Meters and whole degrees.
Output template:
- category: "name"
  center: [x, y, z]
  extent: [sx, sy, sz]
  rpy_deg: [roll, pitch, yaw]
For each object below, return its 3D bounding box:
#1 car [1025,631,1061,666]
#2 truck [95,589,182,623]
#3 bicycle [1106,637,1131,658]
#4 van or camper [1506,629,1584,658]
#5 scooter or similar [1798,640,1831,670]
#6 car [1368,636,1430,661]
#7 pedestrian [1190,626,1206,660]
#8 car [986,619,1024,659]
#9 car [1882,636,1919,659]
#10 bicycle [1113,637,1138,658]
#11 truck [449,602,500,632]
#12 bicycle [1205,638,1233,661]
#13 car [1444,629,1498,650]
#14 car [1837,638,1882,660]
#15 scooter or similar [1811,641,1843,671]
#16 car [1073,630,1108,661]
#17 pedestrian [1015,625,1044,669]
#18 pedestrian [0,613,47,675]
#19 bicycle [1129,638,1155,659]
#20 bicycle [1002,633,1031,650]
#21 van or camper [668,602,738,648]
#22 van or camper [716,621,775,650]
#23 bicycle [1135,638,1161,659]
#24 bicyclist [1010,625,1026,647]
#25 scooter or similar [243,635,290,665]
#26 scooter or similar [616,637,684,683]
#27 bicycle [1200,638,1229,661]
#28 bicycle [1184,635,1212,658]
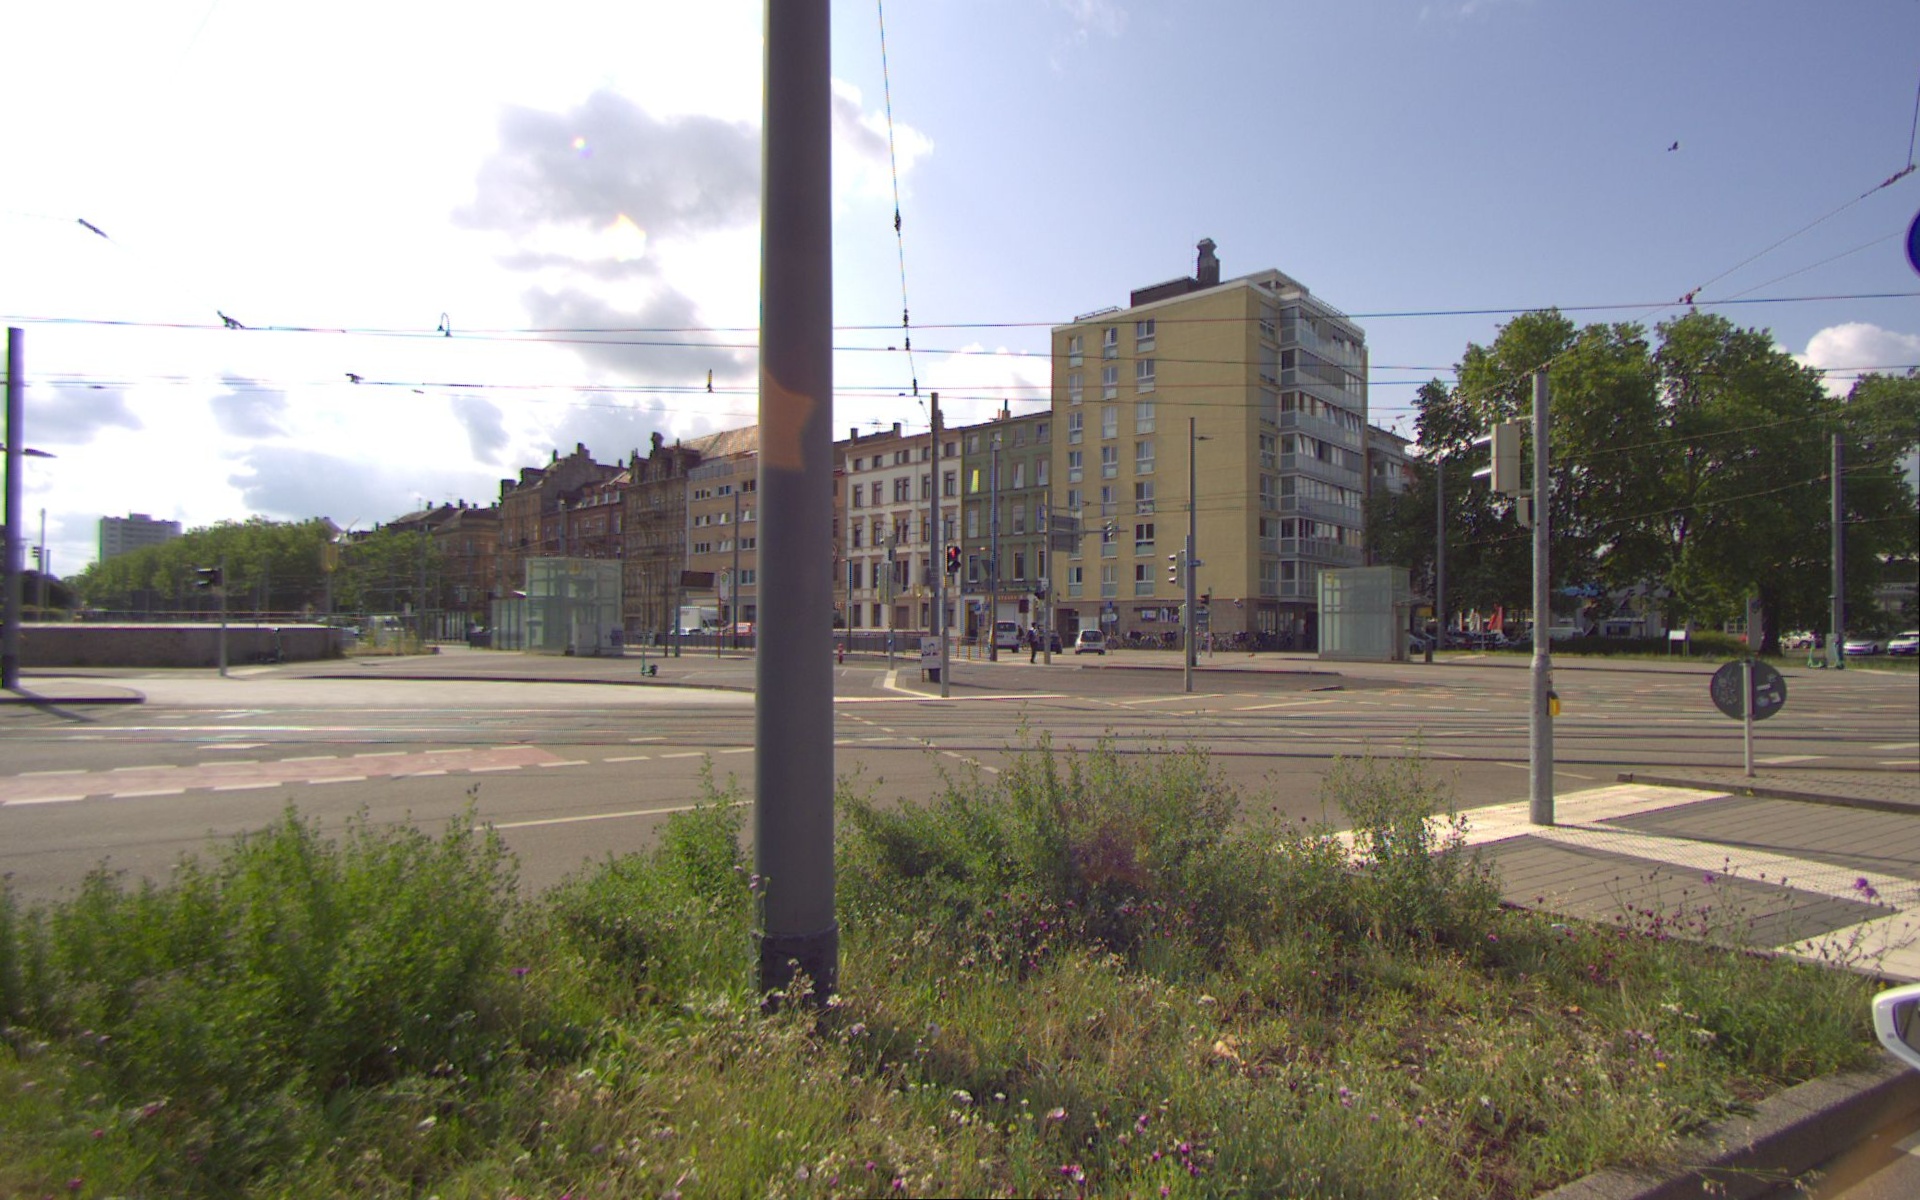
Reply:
- category: "car"
  center: [5.040, 2.917, 61.495]
  extent: [1.853, 1.488, 5.063]
  rpy_deg: [3, 4, 2]
- category: "truck"
  center: [-95.237, 0.781, 116.555]
  extent: [2.431, 3.696, 7.423]
  rpy_deg: [0, -2, 36]
- category: "bicycle"
  center: [10.675, 3.176, 67.533]
  extent: [0.484, 1.217, 1.625]
  rpy_deg: [4, 2, -41]
- category: "van or camper"
  center: [54.537, 4.035, 93.774]
  extent: [2.363, 2.502, 5.853]
  rpy_deg: [2, 0, -28]
- category: "scooter or similar"
  center: [36.364, 2.352, 42.750]
  extent: [0.911, 1.173, 0.381]
  rpy_deg: [3, 4, 16]
- category: "car"
  center: [30.788, 3.389, 70.433]
  extent: [3.523, 1.550, 1.989]
  rpy_deg: [1, 0, 43]
- category: "pedestrian"
  center: [12.791, 2.284, 53.938]
  extent: [0.770, 1.783, 0.995]
  rpy_deg: [0, -1, 19]
- category: "car"
  center: [2.858, 2.468, 64.548]
  extent: [2.039, 2.113, 4.897]
  rpy_deg: [3, 2, -1]
- category: "car"
  center: [72.121, 3.605, 76.407]
  extent: [3.959, 1.625, 2.055]
  rpy_deg: [2, -2, -34]
- category: "bicycle"
  center: [11.183, 3.191, 67.776]
  extent: [0.484, 1.217, 1.625]
  rpy_deg: [4, 2, -41]
- category: "truck"
  center: [-57.093, 1.973, 118.011]
  extent: [7.197, 3.330, 3.160]
  rpy_deg: [1, 1, 44]
- category: "bicycle"
  center: [16.278, 3.103, 63.210]
  extent: [0.484, 1.289, 1.625]
  rpy_deg: [4, 2, -41]
- category: "car"
  center: [41.316, 3.211, 81.205]
  extent: [1.654, 1.615, 3.574]
  rpy_deg: [2, -2, -43]
- category: "car"
  center: [70.743, 3.824, 78.958]
  extent: [3.965, 1.595, 1.978]
  rpy_deg: [2, 0, -39]
- category: "scooter or similar"
  center: [36.380, 2.349, 42.156]
  extent: [0.911, 1.173, 0.381]
  rpy_deg: [3, 4, 4]
- category: "car"
  center: [7.696, 2.680, 59.597]
  extent: [1.685, 1.460, 3.512]
  rpy_deg: [4, 2, 3]
- category: "pedestrian"
  center: [2.900, 1.952, 41.887]
  extent: [0.783, 1.696, 0.840]
  rpy_deg: [6, 6, 41]
- category: "pedestrian"
  center: [-28.695, 1.328, 30.502]
  extent: [1.077, 1.712, 0.928]
  rpy_deg: [4, 3, -5]
- category: "bicycle"
  center: [11.999, 3.204, 66.165]
  extent: [0.545, 1.217, 1.625]
  rpy_deg: [4, 2, -41]
- category: "bicycle"
  center: [3.935, 2.900, 70.188]
  extent: [1.963, 1.142, 0.785]
  rpy_deg: [-1, -2, 42]
- category: "van or camper"
  center: [-23.468, 2.163, 91.339]
  extent: [2.703, 3.376, 7.536]
  rpy_deg: [-2, 6, -45]
- category: "van or camper"
  center: [-16.297, 2.666, 76.138]
  extent: [4.454, 1.940, 2.006]
  rpy_deg: [1, 0, 40]
- category: "bicycle"
  center: [12.431, 3.218, 66.519]
  extent: [0.484, 1.217, 1.625]
  rpy_deg: [4, 2, -41]
- category: "bicyclist"
  center: [4.025, 2.523, 70.132]
  extent: [0.821, 1.517, 0.785]
  rpy_deg: [-1, -2, 42]
- category: "scooter or similar"
  center: [-23.548, 1.685, 34.123]
  extent: [0.464, 0.962, 1.663]
  rpy_deg: [1, -1, -1]
- category: "scooter or similar"
  center: [-8.901, 1.705, 28.804]
  extent: [1.330, 1.205, 1.475]
  rpy_deg: [2, 0, -45]
- category: "bicycle"
  center: [15.910, 3.091, 62.819]
  extent: [0.527, 1.289, 1.625]
  rpy_deg: [4, 2, -41]
- category: "bicycle"
  center: [15.192, 2.974, 64.146]
  extent: [0.484, 1.289, 1.625]
  rpy_deg: [4, 2, -41]
